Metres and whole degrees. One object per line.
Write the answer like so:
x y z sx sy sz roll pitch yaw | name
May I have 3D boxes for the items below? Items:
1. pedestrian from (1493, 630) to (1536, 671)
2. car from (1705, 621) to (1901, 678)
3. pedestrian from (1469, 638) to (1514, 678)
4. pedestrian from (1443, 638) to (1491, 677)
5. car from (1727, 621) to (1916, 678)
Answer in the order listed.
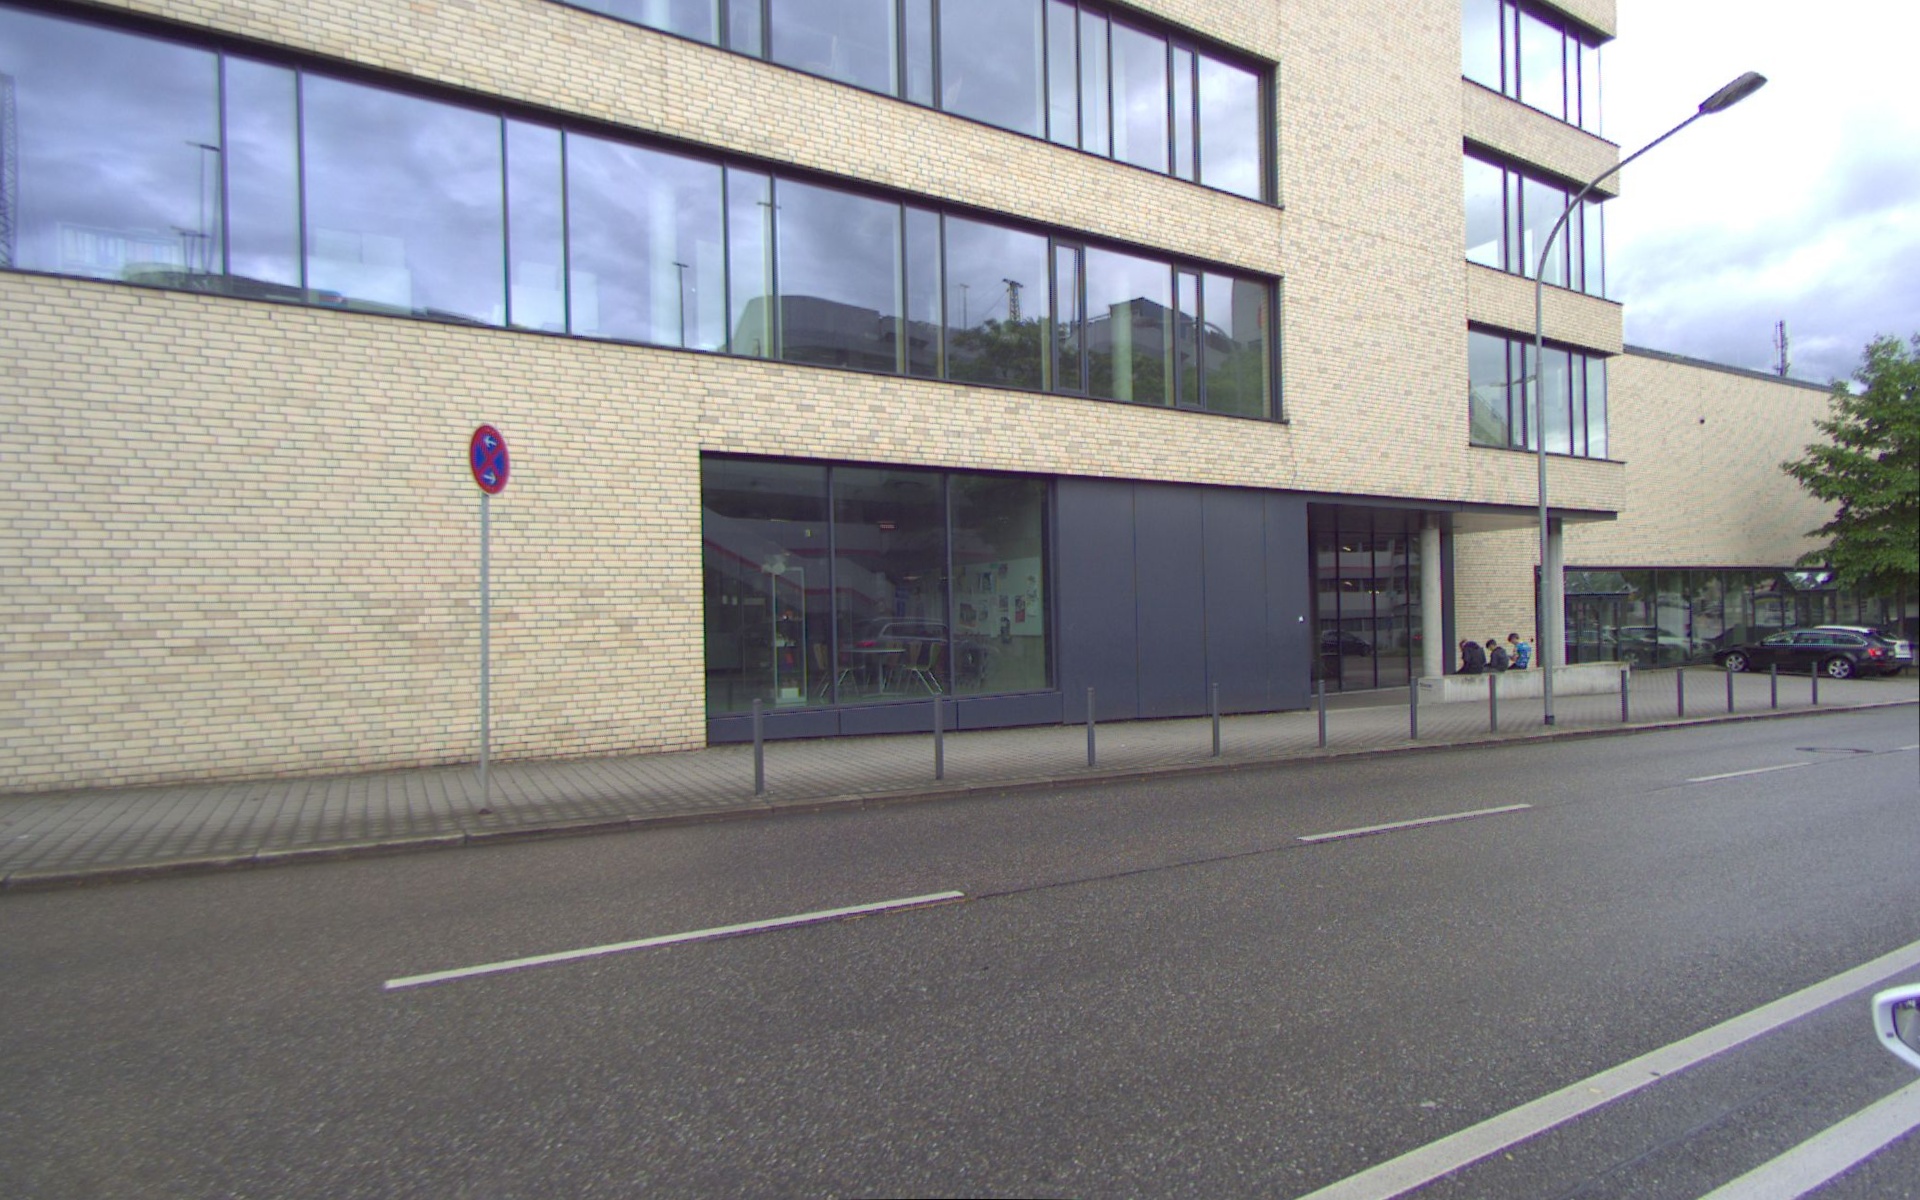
12.575 1.144 22.786 0.518 0.897 0.677 2 0 -32 | pedestrian
26.755 1.505 32.033 1.980 1.608 4.439 1 0 -35 | car
11.706 1.272 22.116 0.718 0.856 0.584 2 -1 -29 | pedestrian
10.942 1.228 21.684 0.751 0.796 0.595 2 0 -29 | pedestrian
28.370 1.562 33.225 1.979 1.595 4.390 -1 1 -33 | car
